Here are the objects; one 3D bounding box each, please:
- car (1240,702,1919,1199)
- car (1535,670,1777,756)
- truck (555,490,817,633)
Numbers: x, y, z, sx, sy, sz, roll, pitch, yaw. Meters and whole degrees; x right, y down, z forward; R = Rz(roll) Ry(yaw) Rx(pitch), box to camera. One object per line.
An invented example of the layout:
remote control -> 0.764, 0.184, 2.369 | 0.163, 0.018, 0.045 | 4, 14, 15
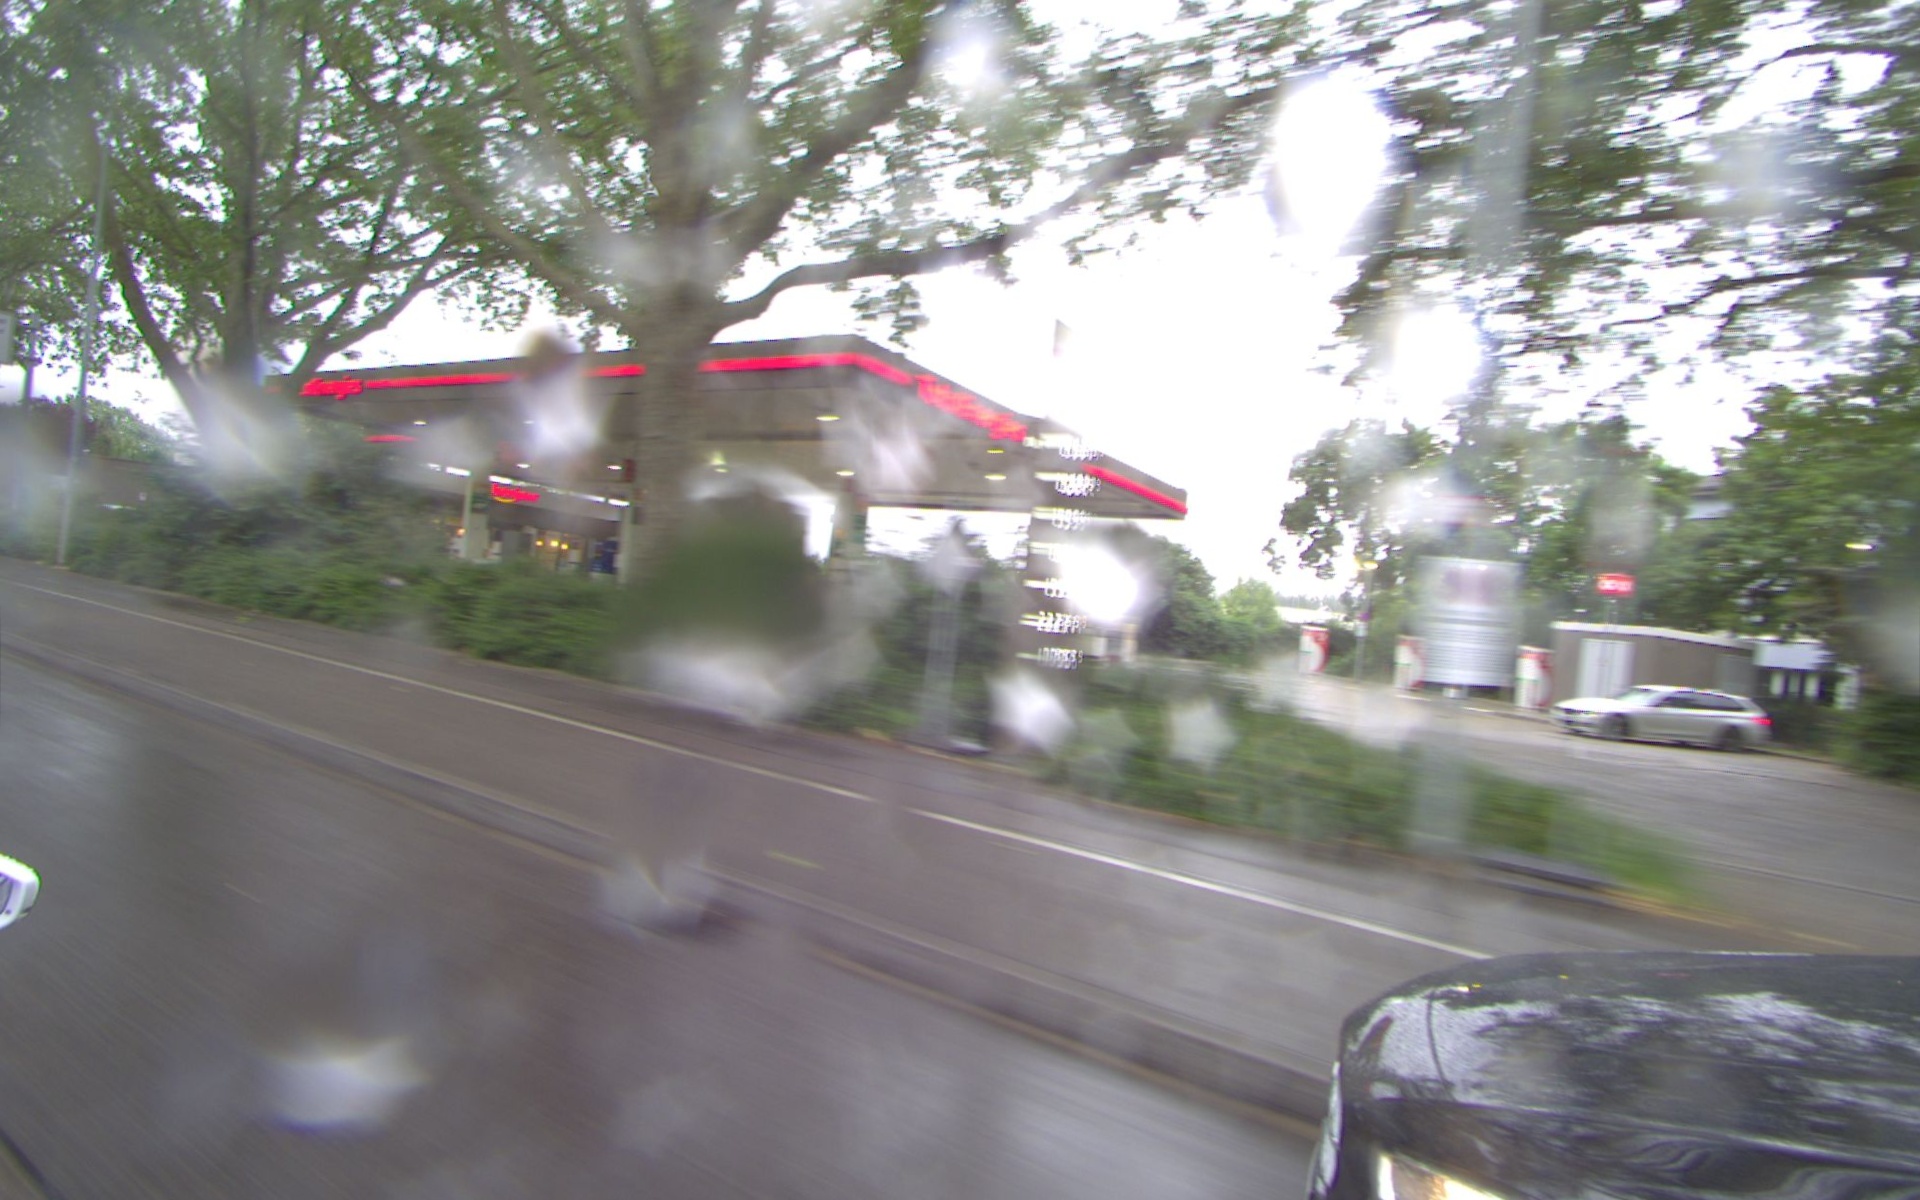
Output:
car -> 2.683, 1.114, 1.084 | 4.347, 1.547, 1.821 | 4, -3, 29
car -> 17.330, 2.783, 25.222 | 4.545, 1.505, 2.001 | 6, -2, 0
truck -> -8.351, -1.208, 30.311 | 7.638, 3.391, 2.700 | 7, -2, 30
